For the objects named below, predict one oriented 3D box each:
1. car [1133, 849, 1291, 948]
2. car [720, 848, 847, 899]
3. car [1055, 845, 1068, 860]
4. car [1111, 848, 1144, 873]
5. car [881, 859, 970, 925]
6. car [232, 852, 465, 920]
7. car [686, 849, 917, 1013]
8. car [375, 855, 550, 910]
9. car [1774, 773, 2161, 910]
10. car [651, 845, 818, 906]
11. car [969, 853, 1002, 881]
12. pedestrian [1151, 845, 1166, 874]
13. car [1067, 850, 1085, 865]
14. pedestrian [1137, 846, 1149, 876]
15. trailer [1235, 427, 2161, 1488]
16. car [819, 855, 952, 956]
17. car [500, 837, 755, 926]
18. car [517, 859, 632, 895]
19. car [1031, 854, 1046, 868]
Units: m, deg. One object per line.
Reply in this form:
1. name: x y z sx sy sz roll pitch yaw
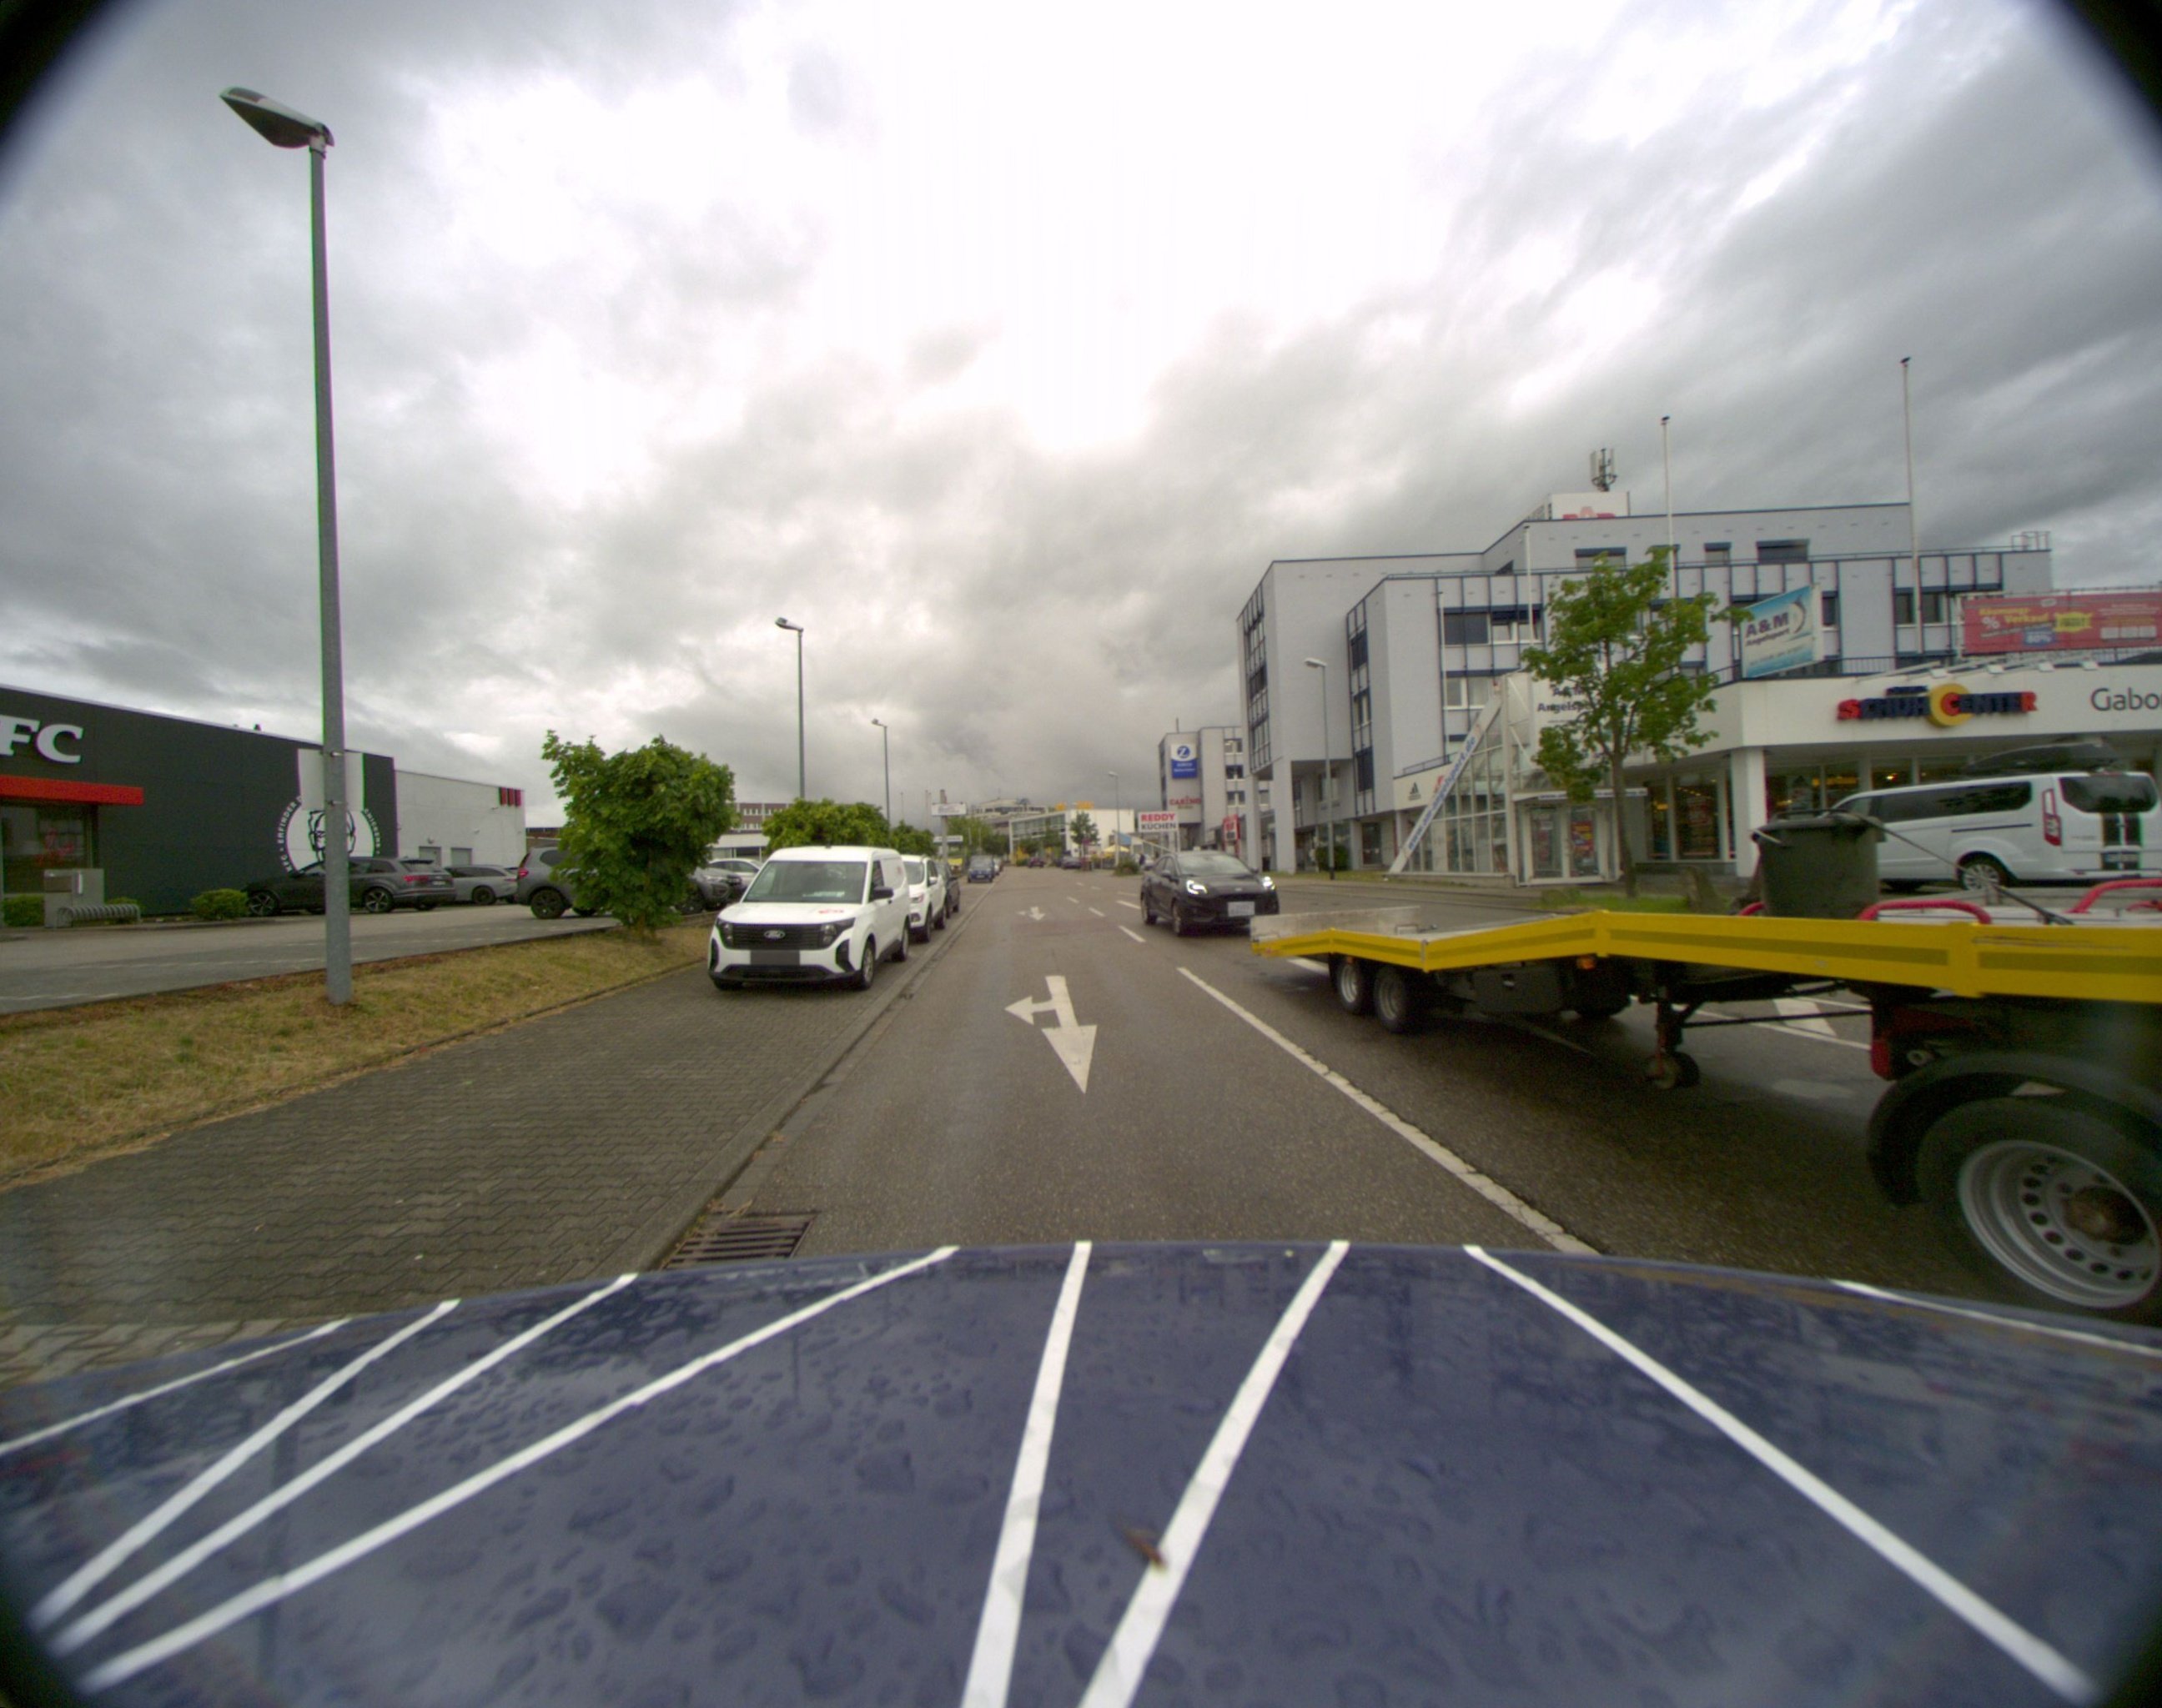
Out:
1. car: 2.323 0.733 14.605 1.814 1.531 3.997 -3 1 -7
2. car: -11.547 0.716 29.761 4.184 1.765 1.880 -2 1 -6
3. car: -2.627 -0.232 100.727 1.567 1.807 3.905 -3 1 -3
4. car: 3.198 0.407 52.830 1.823 1.601 3.998 -3 1 -3
5. car: -4.317 0.997 21.664 1.823 1.589 3.998 -2 1 -3
6. car: -21.722 0.904 22.741 4.742 1.730 1.891 -2 1 -8
7. car: -3.486 0.822 10.384 1.798 1.773 4.247 0 1 -3
8. car: -22.196 0.991 27.447 4.502 1.730 1.891 -2 1 -8
9. car: 15.683 -0.210 13.746 1.998 2.002 4.787 -2 1 2
10. car: -11.085 0.656 24.645 4.502 1.730 1.891 -2 1 -8
11. car: -6.330 0.840 50.626 1.823 1.698 3.998 -2 1 -3
12. pedestrian: 4.788 0.354 47.051 0.644 1.733 0.589 -2 1 30
13. car: -0.619 0.387 86.073 1.801 1.663 3.666 -3 1 -3
14. pedestrian: 3.592 0.420 44.185 0.551 1.698 0.519 -3 1 -1
15. trailer: 3.370 0.247 5.310 2.310 2.459 7.968 -2 0 -5
16. car: -3.836 0.927 15.627 1.823 1.698 3.998 -2 1 -3
17. car: -10.031 0.560 17.160 4.502 1.730 1.891 -2 1 -8
18. car: -23.456 1.030 35.308 4.037 1.477 1.738 -2 1 -11
19. car: -5.820 0.974 104.282 1.902 1.755 3.998 -3 1 -3
